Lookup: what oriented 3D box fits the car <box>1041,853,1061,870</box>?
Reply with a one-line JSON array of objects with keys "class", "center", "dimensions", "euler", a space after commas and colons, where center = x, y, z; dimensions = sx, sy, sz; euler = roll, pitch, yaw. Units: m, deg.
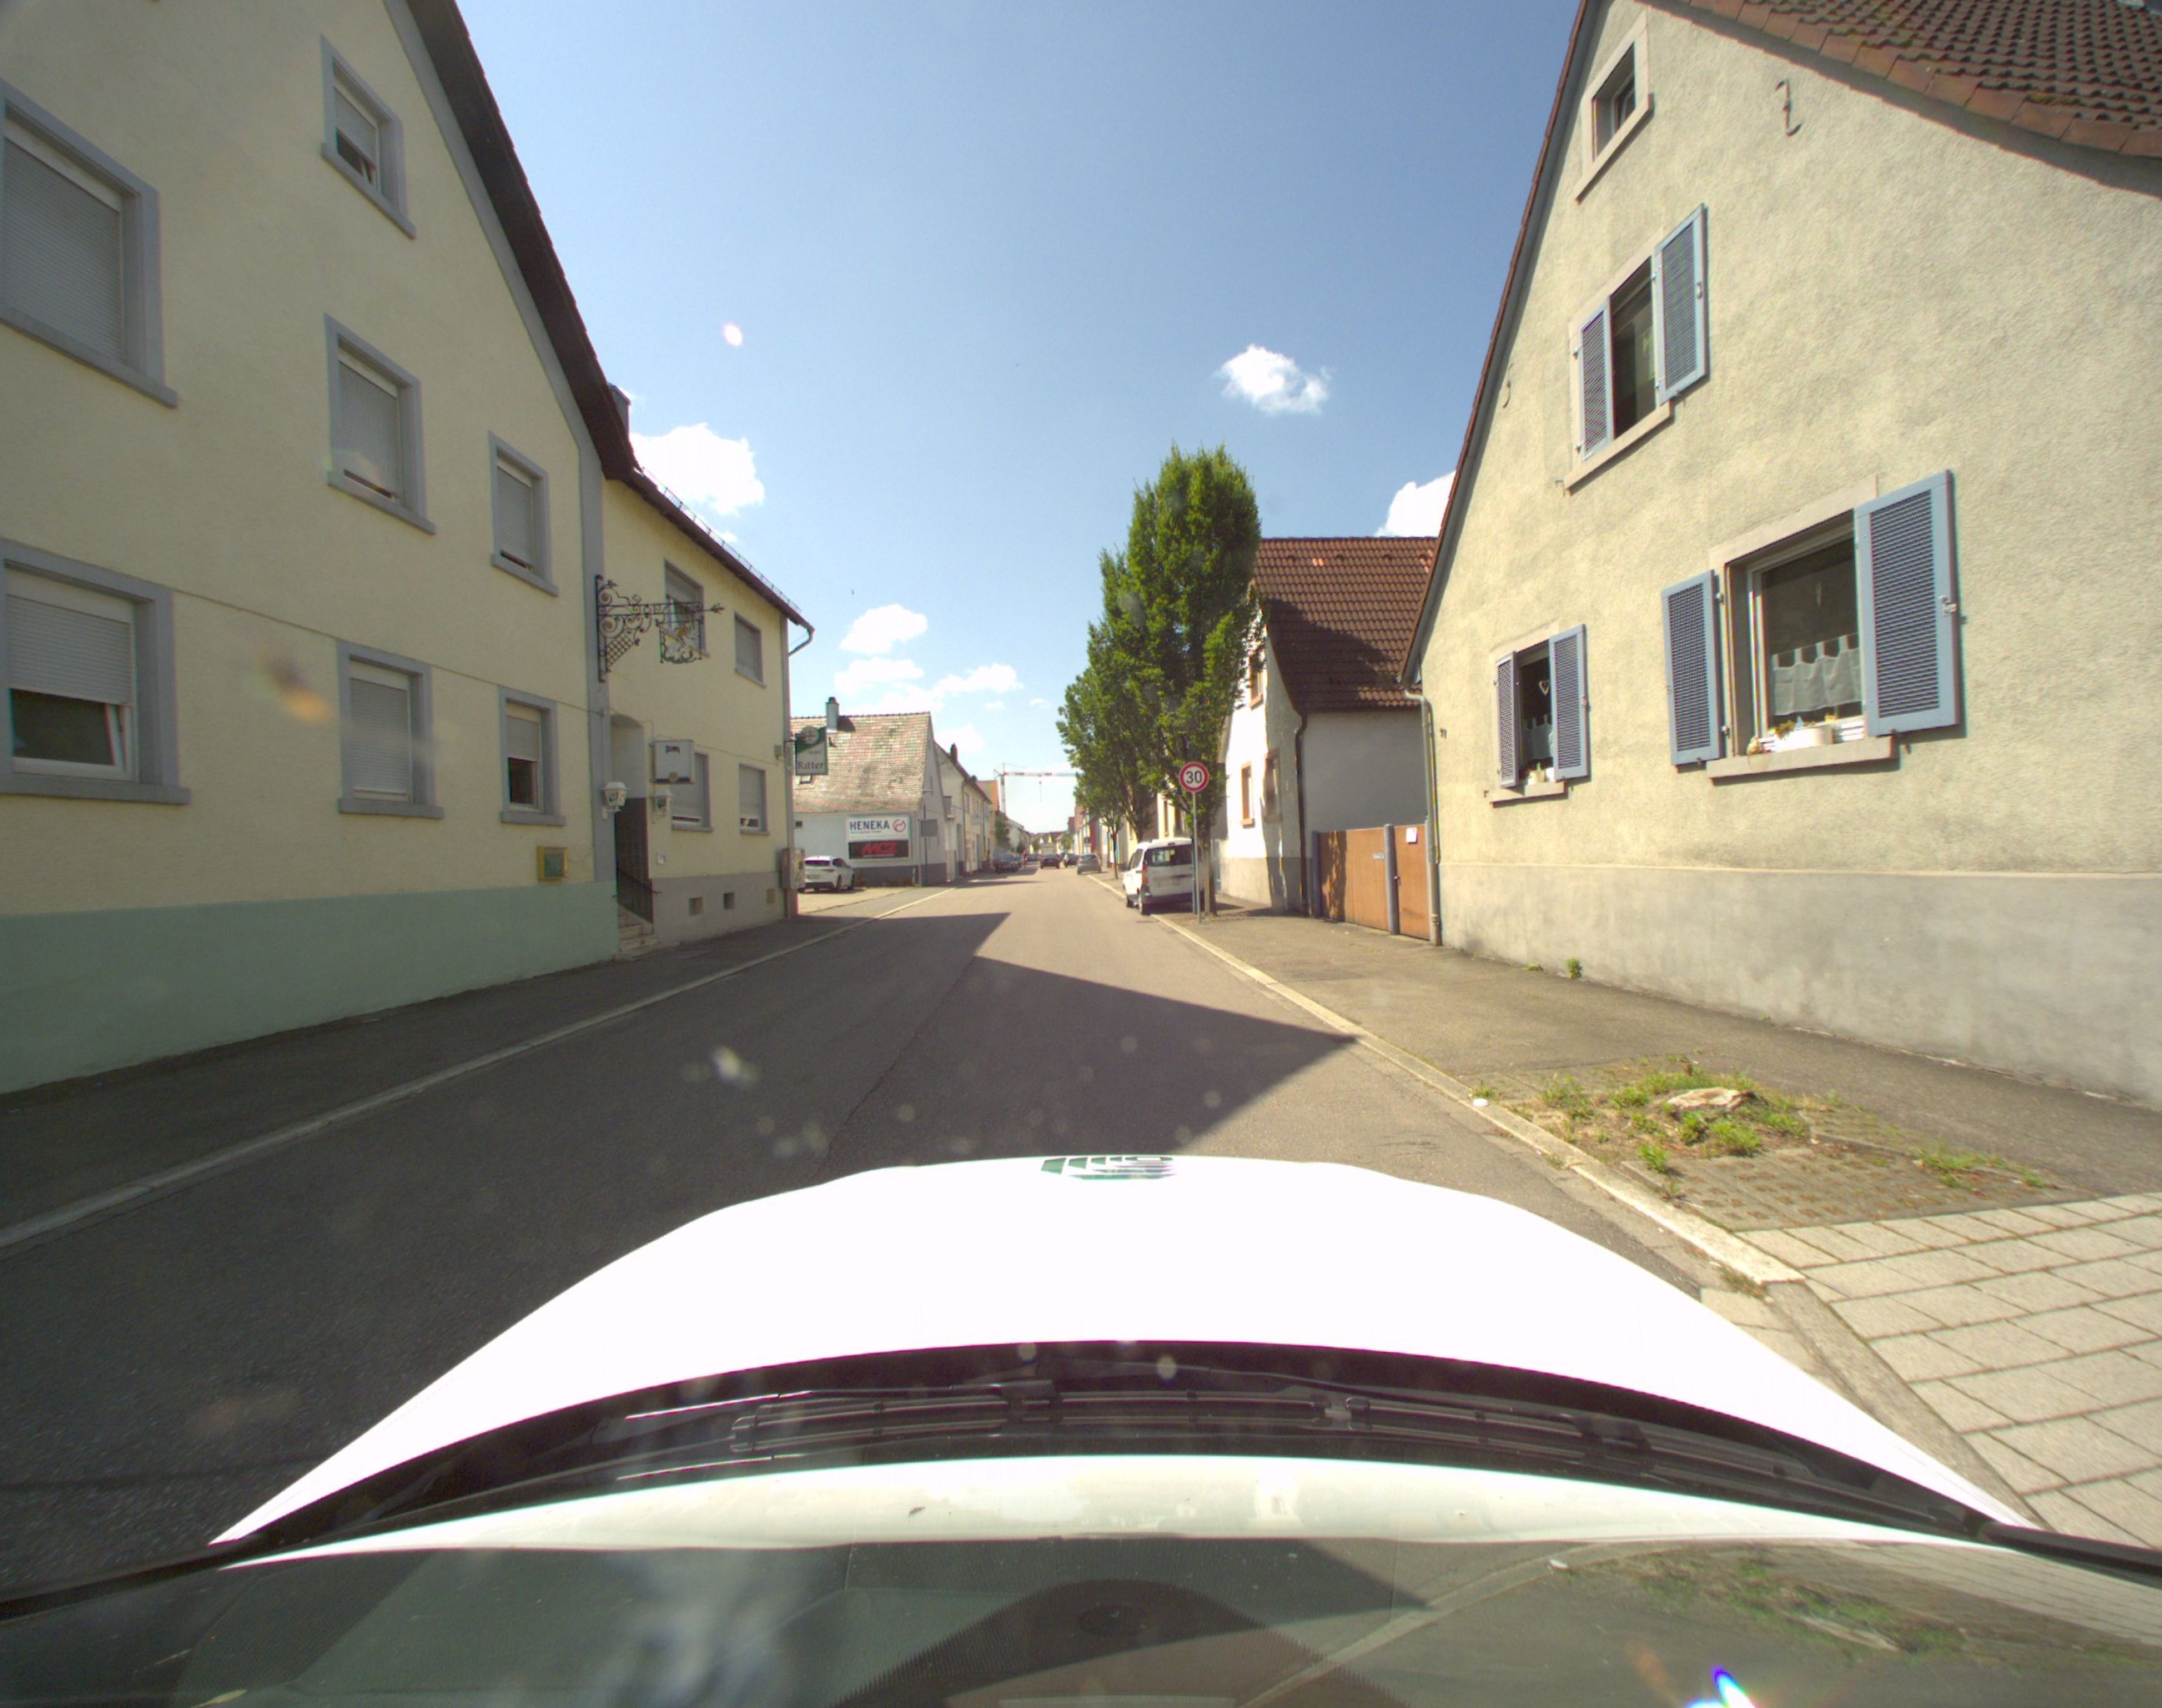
[{"class": "car", "center": [-2.930, 0.715, 80.484], "dimensions": [1.897, 1.563, 4.474], "euler": [-2, 0, -1]}]

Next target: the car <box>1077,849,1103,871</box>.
[{"class": "car", "center": [0.583, 0.412, 57.916], "dimensions": [1.714, 1.461, 4.155], "euler": [-2, 0, -1]}]

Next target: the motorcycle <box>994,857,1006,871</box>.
[{"class": "motorcycle", "center": [-6.761, 0.828, 68.004], "dimensions": [0.844, 1.170, 2.466], "euler": [-1, 0, -4]}]

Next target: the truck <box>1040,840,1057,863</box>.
[{"class": "truck", "center": [-6.285, -0.409, 158.904], "dimensions": [3.136, 4.250, 9.297], "euler": [-1, 0, -1]}]

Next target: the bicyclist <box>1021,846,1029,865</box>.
[{"class": "bicyclist", "center": [-5.981, 0.183, 86.889], "dimensions": [0.738, 2.059, 0.843], "euler": [-1, -1, -3]}]

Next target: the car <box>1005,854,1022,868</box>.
[{"class": "car", "center": [-7.965, 0.804, 96.734], "dimensions": [1.805, 1.589, 3.995], "euler": [-2, 0, -3]}]

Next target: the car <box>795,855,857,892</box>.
[{"class": "car", "center": [-11.525, 0.857, 37.080], "dimensions": [1.716, 1.556, 4.193], "euler": [-1, 0, -4]}]

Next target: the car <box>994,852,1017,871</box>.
[{"class": "car", "center": [-6.641, 0.629, 72.060], "dimensions": [1.805, 1.589, 3.995], "euler": [-2, 0, -3]}]

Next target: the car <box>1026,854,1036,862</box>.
[{"class": "car", "center": [-10.231, 0.844, 166.790], "dimensions": [1.805, 1.589, 3.996], "euler": [-2, 0, -3]}]

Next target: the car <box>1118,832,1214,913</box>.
[{"class": "car", "center": [2.099, 0.430, 21.288], "dimensions": [1.716, 1.790, 4.138], "euler": [-4, 0, -4]}]

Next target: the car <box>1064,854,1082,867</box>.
[{"class": "car", "center": [-0.893, 0.658, 86.268], "dimensions": [1.715, 1.355, 4.153], "euler": [-2, 0, -2]}]

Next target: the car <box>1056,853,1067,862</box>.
[{"class": "car", "center": [-3.295, 0.560, 135.057], "dimensions": [1.715, 1.268, 4.153], "euler": [-2, 0, -2]}]

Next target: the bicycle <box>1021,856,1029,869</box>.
[{"class": "bicycle", "center": [-5.974, 0.915, 86.860], "dimensions": [0.749, 1.308, 2.682], "euler": [-1, 0, -3]}]
